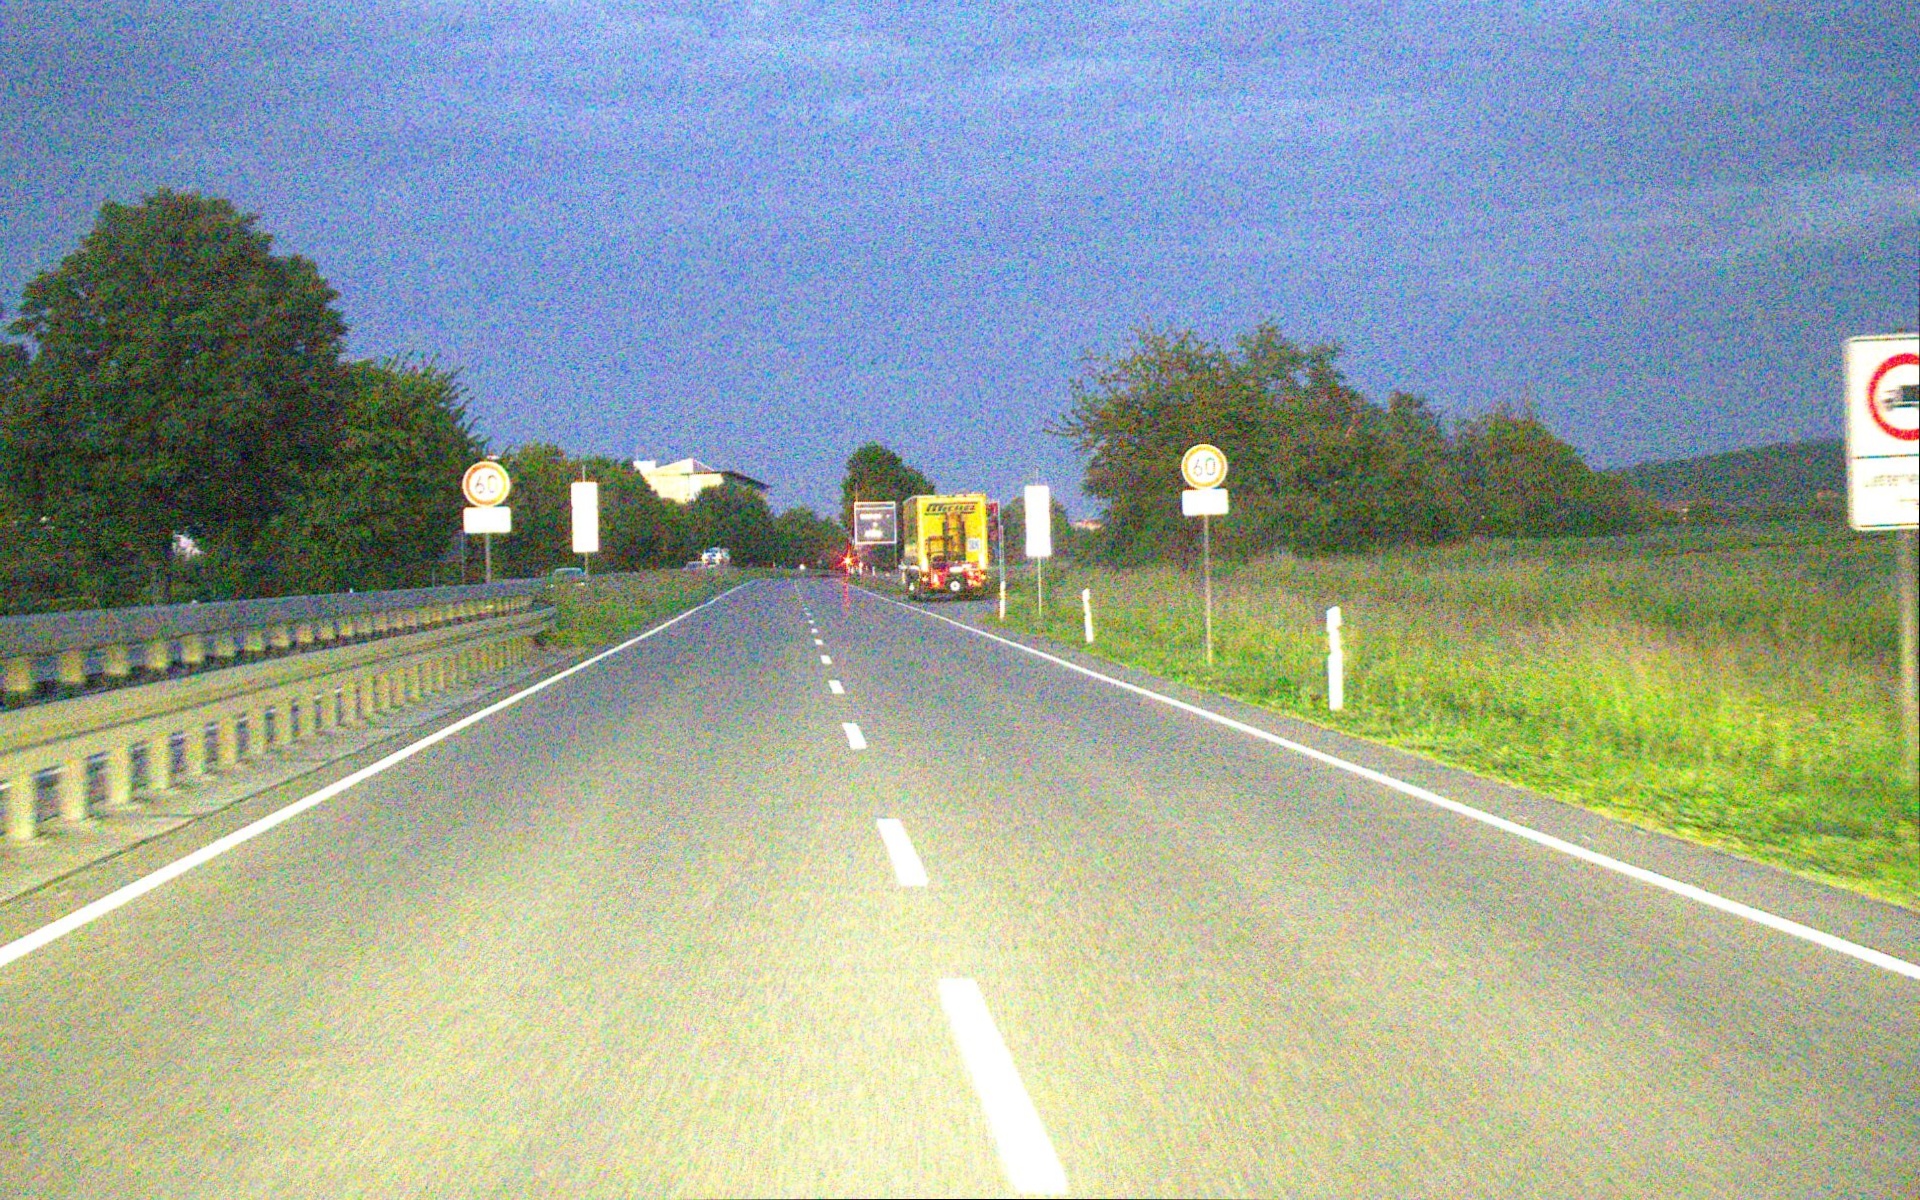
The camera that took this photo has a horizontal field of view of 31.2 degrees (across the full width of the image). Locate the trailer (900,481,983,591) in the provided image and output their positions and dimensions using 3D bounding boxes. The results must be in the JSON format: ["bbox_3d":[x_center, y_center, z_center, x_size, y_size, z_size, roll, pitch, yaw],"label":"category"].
[{"bbox_3d":[-0.817,-2.523,135.844,2.622,4.090,12.939,-1,1,-3],"label":"trailer"}]

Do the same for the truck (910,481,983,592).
[{"bbox_3d":[-0.546,-2.386,128.953,2.579,4.057,6.130,0,1,-2],"label":"truck"}]
